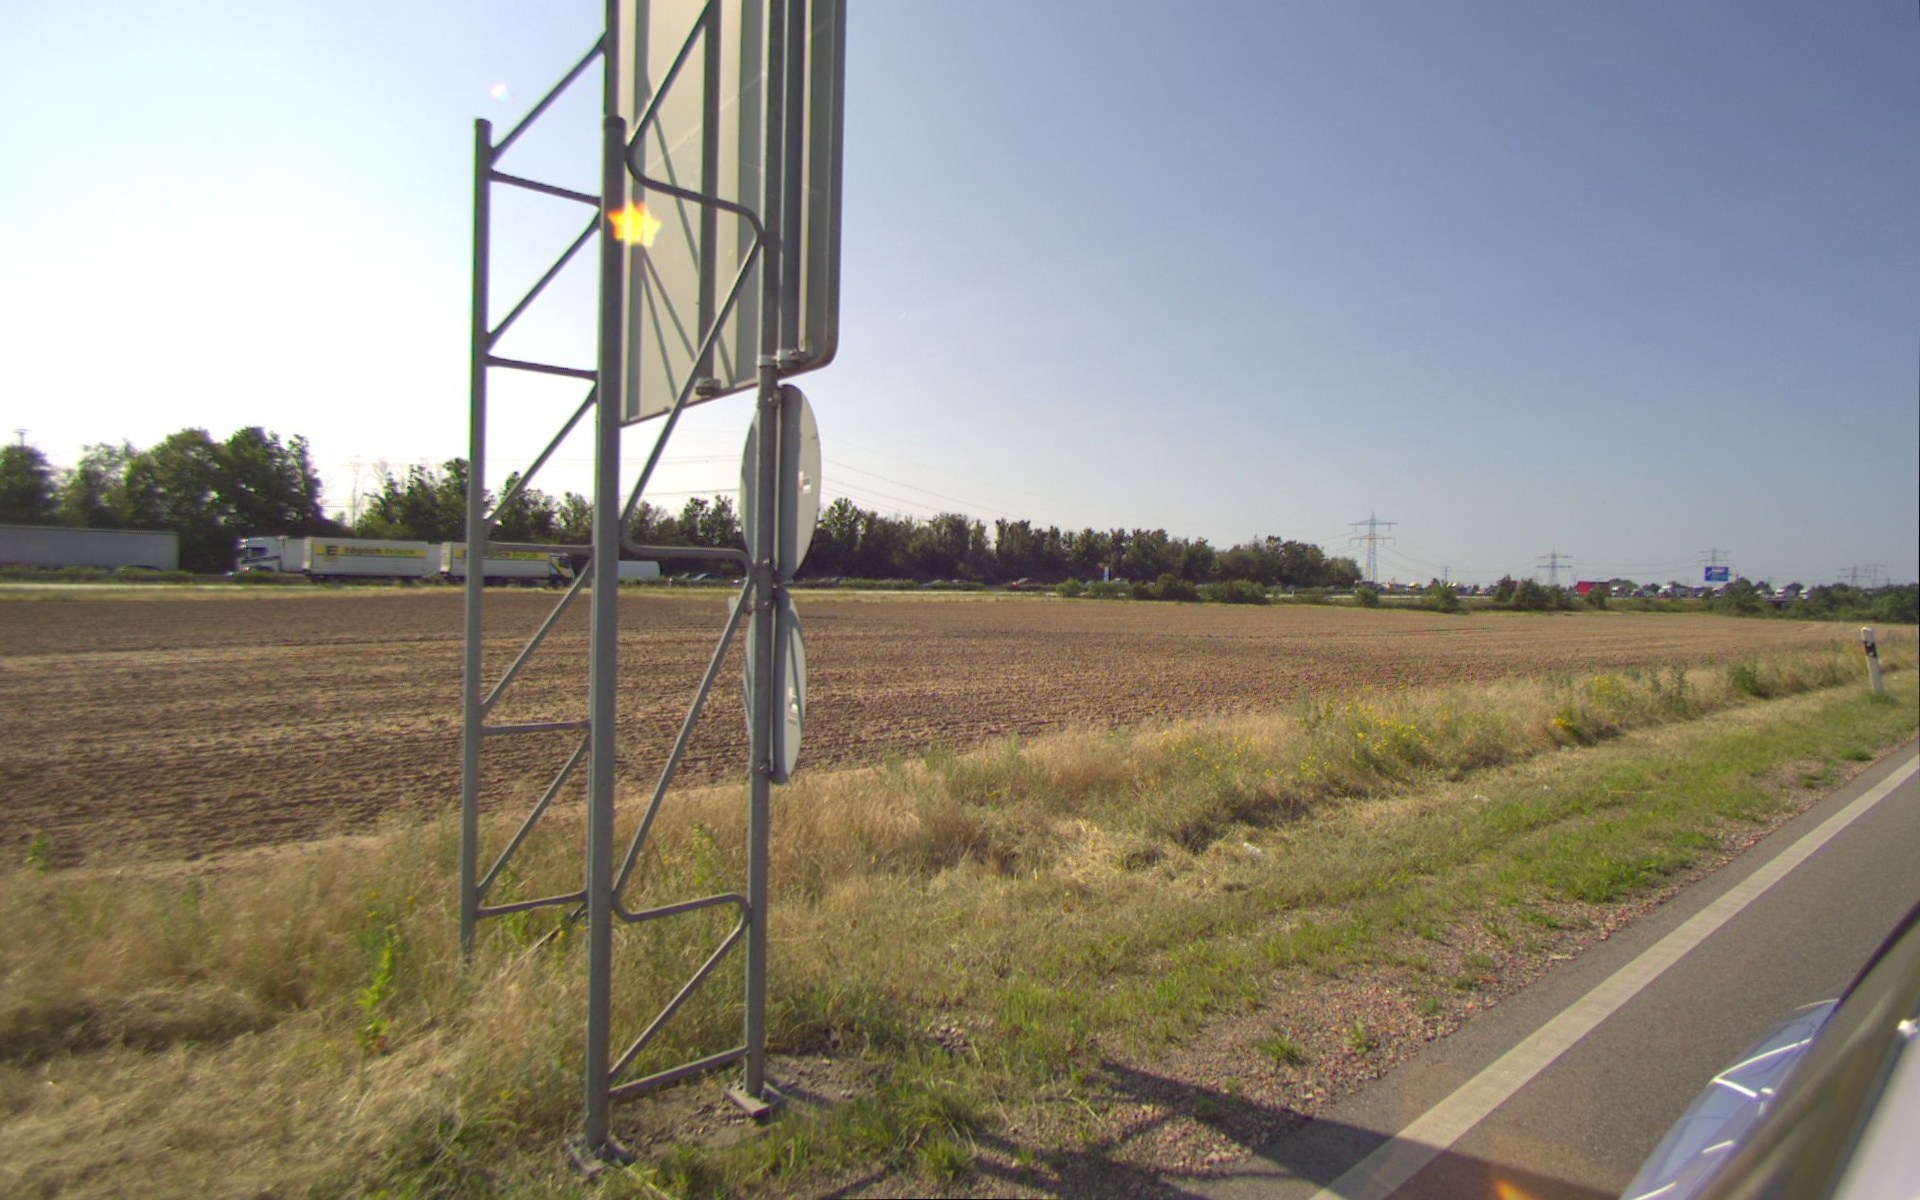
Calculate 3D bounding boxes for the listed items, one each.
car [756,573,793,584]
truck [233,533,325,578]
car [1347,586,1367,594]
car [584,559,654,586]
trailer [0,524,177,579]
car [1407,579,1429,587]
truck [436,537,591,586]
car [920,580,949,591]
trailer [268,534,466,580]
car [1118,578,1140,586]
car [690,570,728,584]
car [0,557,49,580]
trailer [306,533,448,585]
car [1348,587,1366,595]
[{"bbox_3d":[-20.064,-2.302,109.390,3.796,1.139,1.342,0,1,-42],"label":"car"},{"bbox_3d":[-57.135,-3.720,84.945,6.004,3.575,3.207,0,2,-42],"label":"truck"},{"bbox_3d":[66.141,-1.607,168.535,3.489,1.279,1.581,0,0,-41],"label":"car"},{"bbox_3d":[-33.488,-2.675,99.508,6.301,2.478,2.041,0,0,-41],"label":"car"},{"bbox_3d":[-67.499,-3.586,76.001,13.545,3.780,2.950,0,1,-42],"label":"trailer"},{"bbox_3d":[100.245,-3.805,221.456,5.509,1.702,2.054,0,1,-40],"label":"car"},{"bbox_3d":[-35.219,-2.959,80.238,10.931,3.521,2.810,0,1,-43],"label":"truck"},{"bbox_3d":[-3.136,-1.770,124.835,3.531,1.243,1.485,0,1,-40],"label":"car"},{"bbox_3d":[-52.101,-3.718,89.540,14.825,3.575,3.207,0,2,-43],"label":"trailer"},{"bbox_3d":[26.580,-2.837,158.769,3.796,1.139,1.342,0,1,-42],"label":"car"},{"bbox_3d":[-25.751,-2.373,104.028,3.601,1.323,1.341,0,1,-44],"label":"car"},{"bbox_3d":[-65.218,-2.177,69.422,4.023,1.528,1.705,0,0,-42],"label":"car"},{"bbox_3d":[-42.351,-2.896,73.692,8.569,3.458,2.797,0,1,-43],"label":"trailer"},{"bbox_3d":[70.028,-1.606,178.622,3.489,1.279,1.581,0,0,-41],"label":"car"}]
